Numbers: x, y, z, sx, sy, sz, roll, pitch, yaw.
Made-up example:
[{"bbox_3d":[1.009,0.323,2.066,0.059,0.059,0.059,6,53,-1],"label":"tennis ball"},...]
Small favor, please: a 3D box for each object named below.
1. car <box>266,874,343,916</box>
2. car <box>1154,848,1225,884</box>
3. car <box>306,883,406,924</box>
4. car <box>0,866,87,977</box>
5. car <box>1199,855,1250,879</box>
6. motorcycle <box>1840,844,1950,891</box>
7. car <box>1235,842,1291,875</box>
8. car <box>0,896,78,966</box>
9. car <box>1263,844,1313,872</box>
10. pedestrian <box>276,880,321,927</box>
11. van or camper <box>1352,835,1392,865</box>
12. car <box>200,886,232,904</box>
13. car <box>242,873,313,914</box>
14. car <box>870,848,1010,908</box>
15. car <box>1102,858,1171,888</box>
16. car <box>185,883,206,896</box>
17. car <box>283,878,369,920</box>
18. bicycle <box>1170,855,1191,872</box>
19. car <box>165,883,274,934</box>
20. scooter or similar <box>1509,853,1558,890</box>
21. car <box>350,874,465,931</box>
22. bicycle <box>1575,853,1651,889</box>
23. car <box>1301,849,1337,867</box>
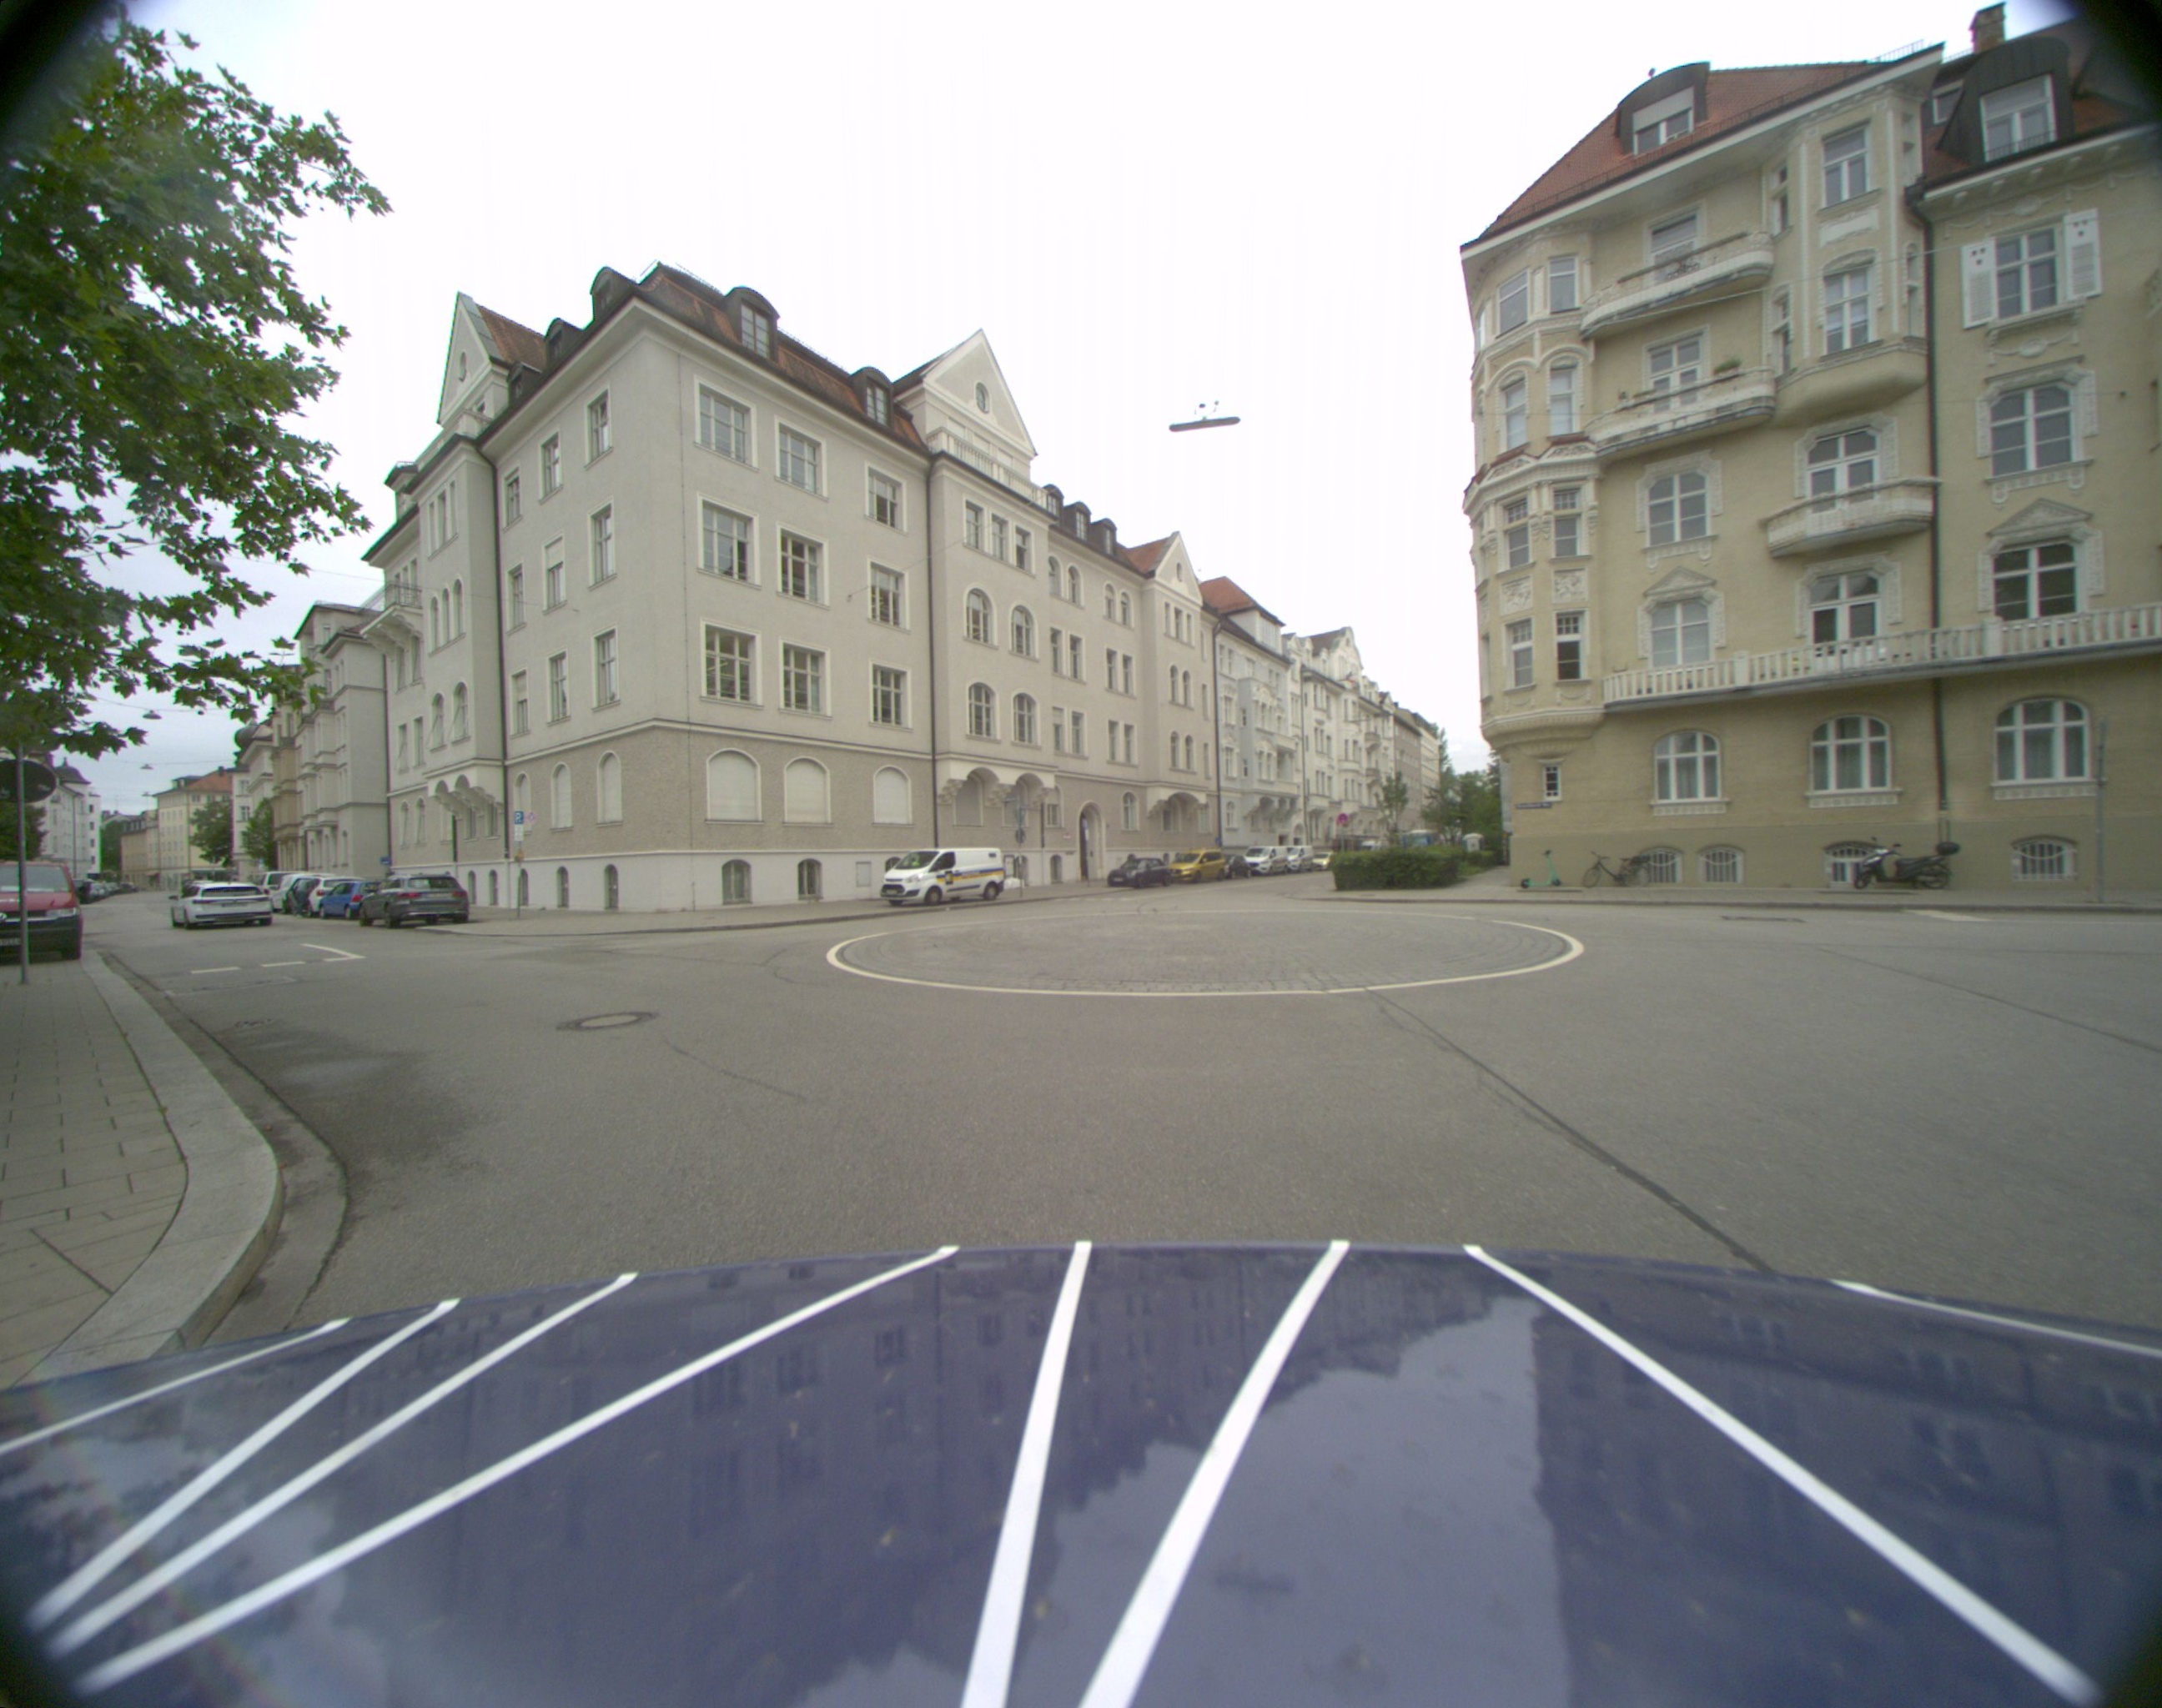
[{"bbox_3d":[-35.518,1.823,34.716,5.023,1.777,1.756,-2,-1,36],"label":"car"},{"bbox_3d":[5.948,0.622,41.450,2.021,1.828,4.144,-2,0,37],"label":"car"},{"bbox_3d":[-27.149,1.805,28.441,3.653,1.406,1.701,-2,-1,29],"label":"car"},{"bbox_3d":[-21.115,1.286,14.801,4.874,1.910,1.883,-2,1,36],"label":"car"},{"bbox_3d":[8.679,0.746,45.751,1.693,1.338,3.546,-2,0,34],"label":"car"},{"bbox_3d":[21.030,0.354,19.673,1.825,1.169,0.601,-2,0,32],"label":"motorcycle"},{"bbox_3d":[12.195,0.295,50.712,2.119,2.079,4.832,-2,0,32],"label":"car"},{"bbox_3d":[-25.761,1.819,18.117,4.357,1.440,1.894,-2,2,34],"label":"car"},{"bbox_3d":[15.314,0.262,55.990,2.119,1.982,4.832,-2,0,34],"label":"car"},{"bbox_3d":[-30.834,1.945,29.962,0.877,1.745,0.962,-2,1,-22],"label":"pedestrian"},{"bbox_3d":[29.422,-0.451,76.685,1.994,2.897,6.450,-1,1,36],"label":"van or camper"},{"bbox_3d":[-71.315,3.338,62.619,3.930,1.421,1.632,-2,-1,40],"label":"car"},{"bbox_3d":[-40.515,1.952,38.291,4.943,1.926,1.866,-2,-1,36],"label":"car"},{"bbox_3d":[-4.868,0.769,26.938,1.920,1.869,4.920,-2,0,34],"label":"car"},{"bbox_3d":[2.750,0.889,37.060,1.693,1.338,3.687,-2,0,35],"label":"car"},{"bbox_3d":[-114.882,4.602,98.528,3.909,1.521,1.632,-2,-1,38],"label":"car"},{"bbox_3d":[-30.973,1.793,31.128,4.484,1.592,1.756,-2,-1,36],"label":"car"},{"bbox_3d":[6.636,0.631,50.587,0.490,1.043,1.834,-2,0,36],"label":"bicycle"},{"bbox_3d":[-28.535,1.728,25.123,4.878,1.440,1.894,-2,0,36],"label":"car"},{"bbox_3d":[14.257,0.540,23.955,1.214,1.109,0.467,-2,1,1],"label":"scooter or similar"},{"bbox_3d":[-21.251,1.473,23.916,4.484,1.592,1.756,-2,-1,36],"label":"car"},{"bbox_3d":[16.105,0.524,23.047,1.825,1.043,0.566,-2,0,32],"label":"bicycle"},{"bbox_3d":[18.954,0.340,60.453,1.693,1.338,3.546,-2,0,34],"label":"car"}]
